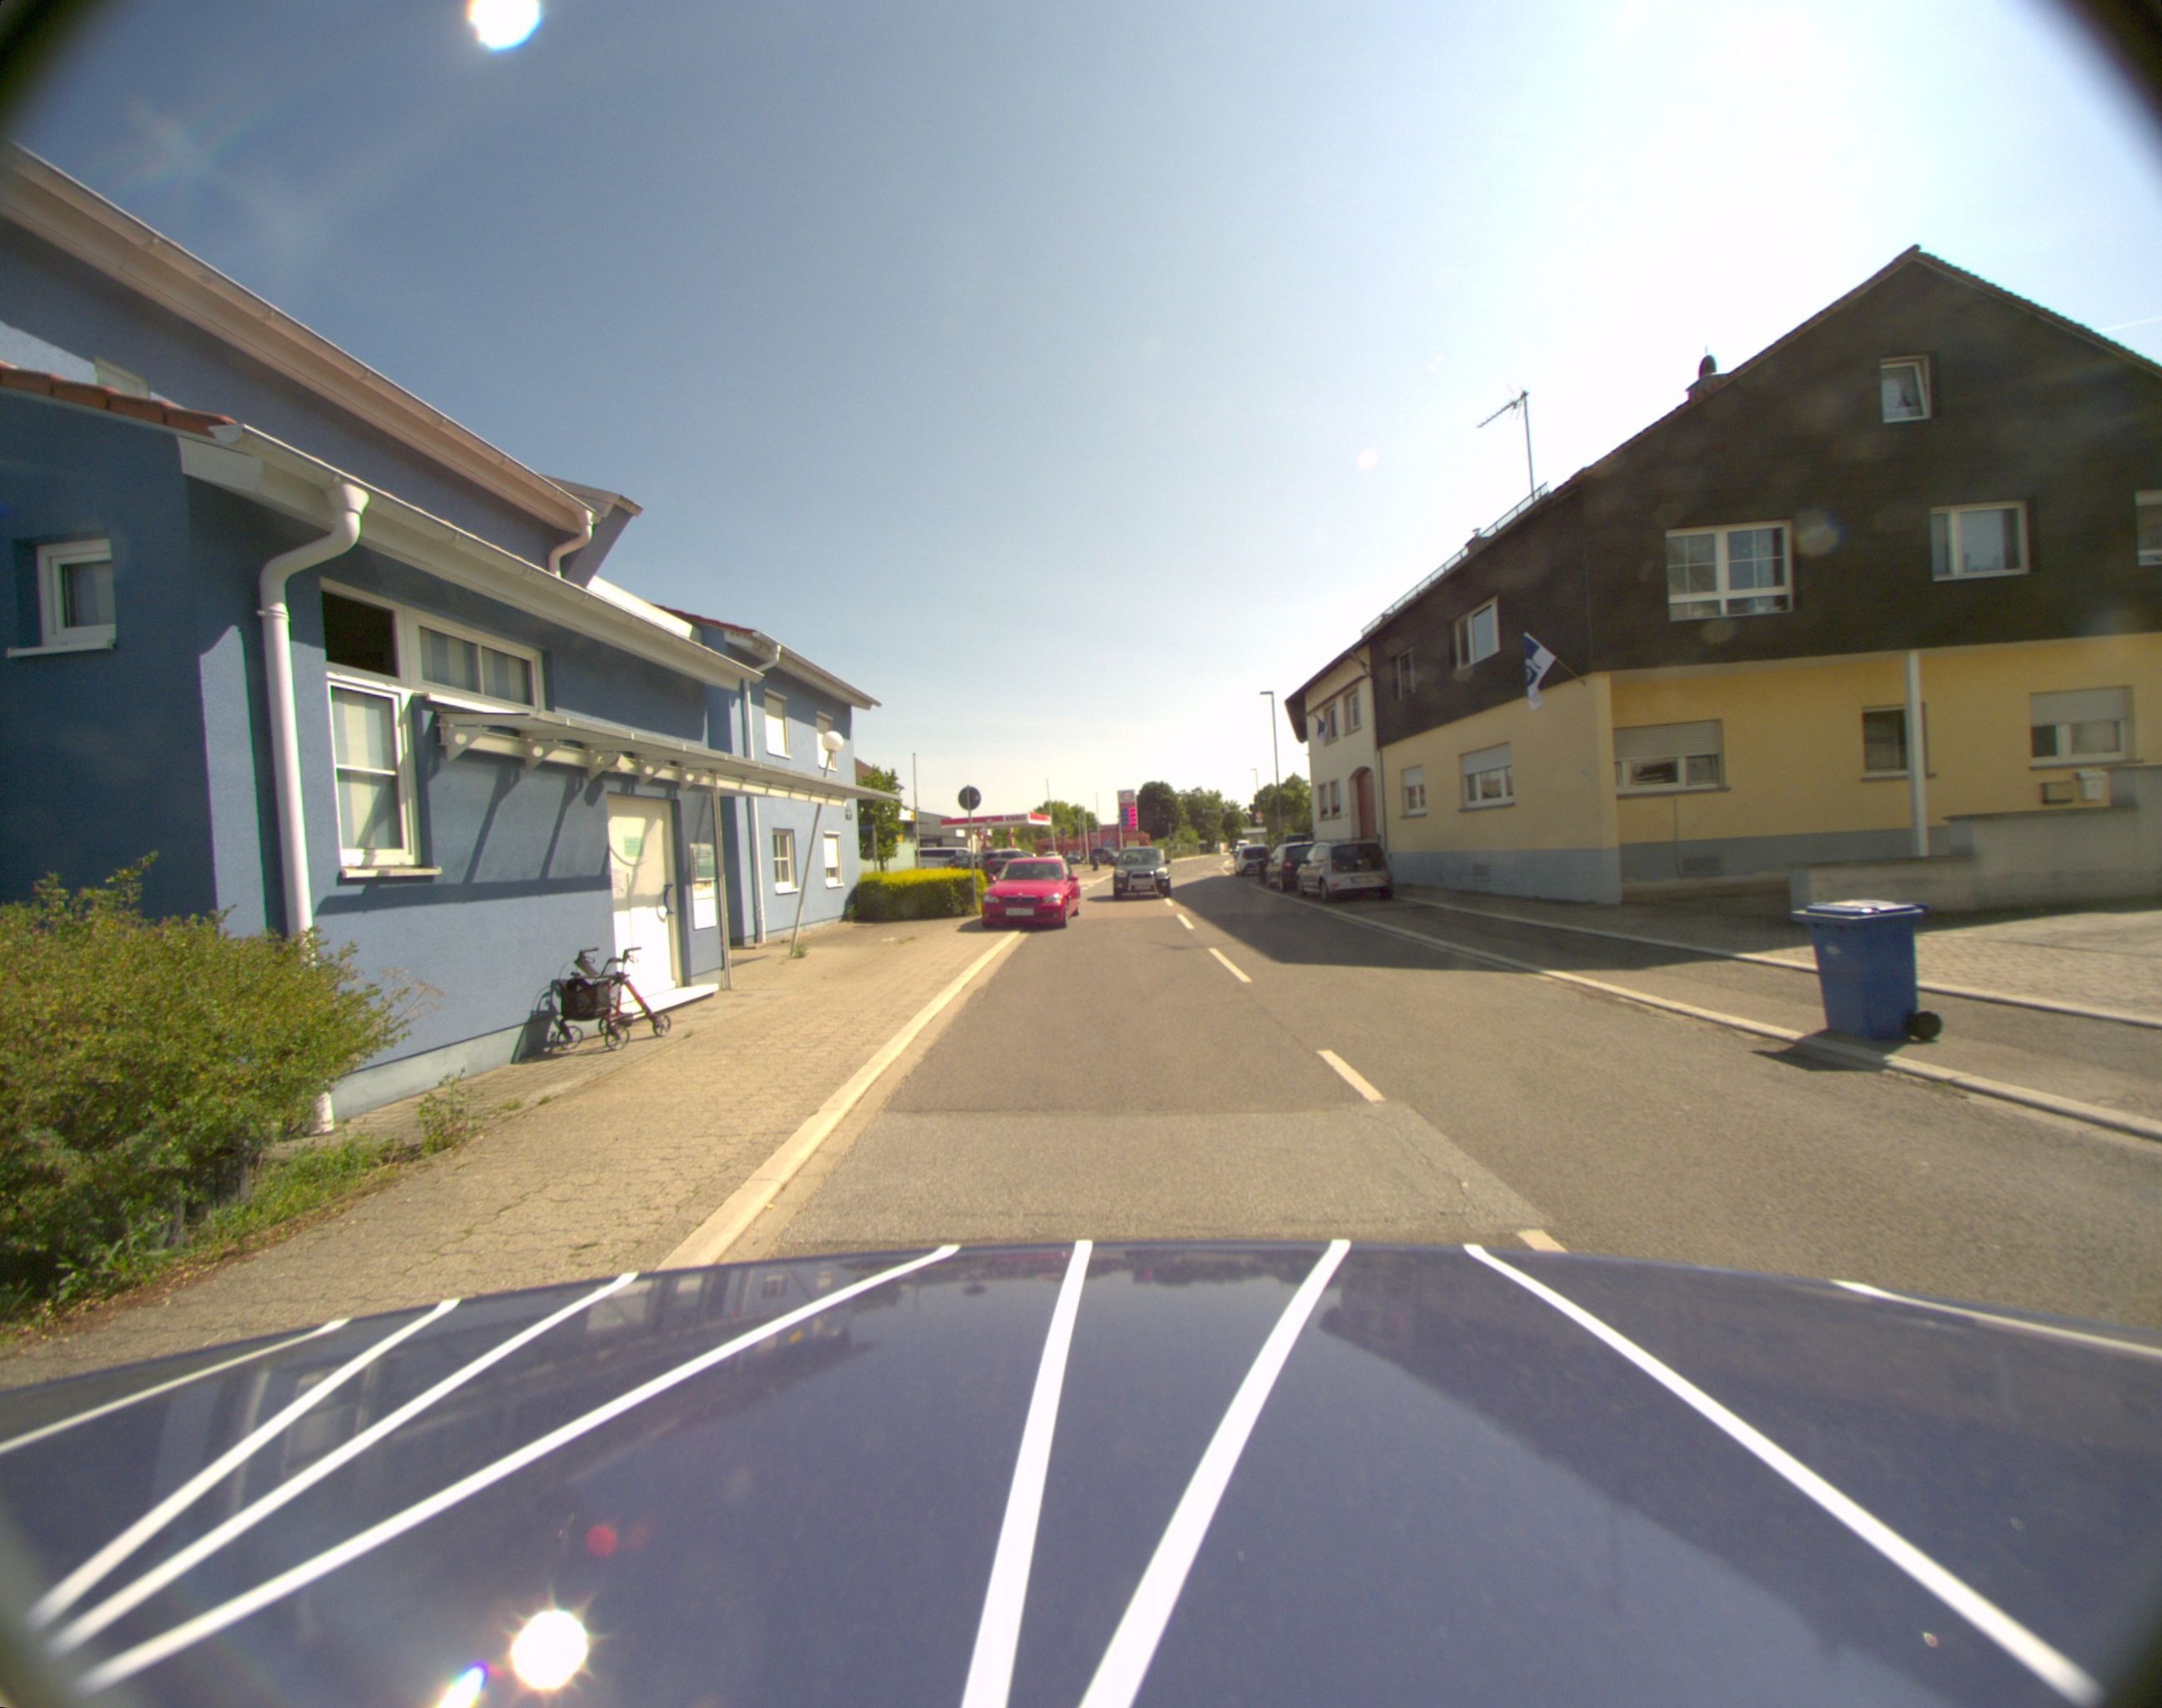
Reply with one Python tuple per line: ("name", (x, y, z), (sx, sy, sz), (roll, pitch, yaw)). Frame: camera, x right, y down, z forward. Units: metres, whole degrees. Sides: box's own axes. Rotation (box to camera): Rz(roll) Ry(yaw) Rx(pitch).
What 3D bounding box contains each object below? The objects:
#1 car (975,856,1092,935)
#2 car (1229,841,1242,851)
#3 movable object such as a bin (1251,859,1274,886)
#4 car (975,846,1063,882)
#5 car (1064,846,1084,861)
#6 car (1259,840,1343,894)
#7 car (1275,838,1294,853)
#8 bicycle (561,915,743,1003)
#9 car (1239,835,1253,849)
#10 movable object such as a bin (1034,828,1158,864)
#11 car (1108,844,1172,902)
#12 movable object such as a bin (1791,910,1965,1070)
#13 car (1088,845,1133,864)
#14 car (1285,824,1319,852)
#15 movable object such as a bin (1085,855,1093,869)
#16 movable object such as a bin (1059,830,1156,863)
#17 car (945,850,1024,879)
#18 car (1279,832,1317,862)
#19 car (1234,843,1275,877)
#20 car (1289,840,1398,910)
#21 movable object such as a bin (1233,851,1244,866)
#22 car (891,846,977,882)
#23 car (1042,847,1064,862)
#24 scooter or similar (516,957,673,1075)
("car", (-0.908, 0.827, 17.069), (1.736, 1.486, 4.357), (-1, 0, 8))
("car", (27.768, -1.468, 136.439), (1.843, 1.583, 4.111), (-3, 1, 19))
("movable object such as a bin", (6.753, 0.666, 28.302), (0.553, 0.923, 0.825), (-7, 0, -1))
("car", (-3.206, 0.507, 39.309), (4.118, 1.644, 1.827), (-3, 1, -24))
("car", (-0.800, -0.079, 90.412), (1.845, 1.583, 4.107), (-3, 1, 7))
("car", (6.980, 0.362, 24.533), (1.682, 1.429, 3.996), (-6, 1, 4))
("car", (21.165, -0.863, 79.089), (1.717, 1.444, 3.919), (-4, -1, 14))
("bicycle", (-5.470, 1.329, 9.743), (1.959, 0.975, 0.657), (-2, 1, 4))
("car", (31.975, -2.312, 146.934), (1.936, 2.488, 5.845), (-2, 1, 19))
("movable object such as a bin", (1.970, -1.033, 100.594), (16.078, 3.995, 2.776), (-3, 1, 12))
("car", (1.982, 0.594, 24.981), (1.848, 1.686, 4.400), (-2, 0, 6))
("movable object such as a bin", (5.500, 0.918, 5.274), (0.598, 0.976, 0.531), (-4, 1, 1))
("car", (2.702, 0.024, 70.019), (1.777, 1.546, 4.171), (-4, 1, -38))
("car", (18.339, -1.331, 63.280), (2.130, 1.974, 5.269), (-8, 0, 12))
("movable object such as a bin", (0.565, 0.556, 53.097), (0.559, 0.931, 0.514), (-3, 1, 3))
("movable object such as a bin", (3.801, -1.047, 108.680), (13.275, 4.141, 2.865), (-3, 1, 12))
("car", (-5.879, 0.613, 46.398), (4.322, 1.541, 1.980), (-3, 1, -24))
("car", (14.474, -0.508, 50.531), (1.839, 1.782, 4.348), (-6, 0, 21))
("car", (8.445, 0.238, 37.225), (1.687, 1.453, 3.651), (-4, 1, 10))
("car", (6.652, 0.472, 19.640), (1.644, 1.492, 3.782), (-5, 1, 4))
("movable object such as a bin", (10.352, 0.266, 49.959), (0.559, 0.931, 0.514), (-5, 1, 3))
("car", (-9.499, 0.636, 49.083), (5.288, 2.002, 2.229), (-3, 1, -13))
("car", (-3.322, 0.026, 91.330), (2.003, 1.583, 4.340), (-3, 1, 7))
("scooter or similar", (-4.123, 1.362, 6.506), (0.729, 0.810, 0.827), (-3, 1, 6))
